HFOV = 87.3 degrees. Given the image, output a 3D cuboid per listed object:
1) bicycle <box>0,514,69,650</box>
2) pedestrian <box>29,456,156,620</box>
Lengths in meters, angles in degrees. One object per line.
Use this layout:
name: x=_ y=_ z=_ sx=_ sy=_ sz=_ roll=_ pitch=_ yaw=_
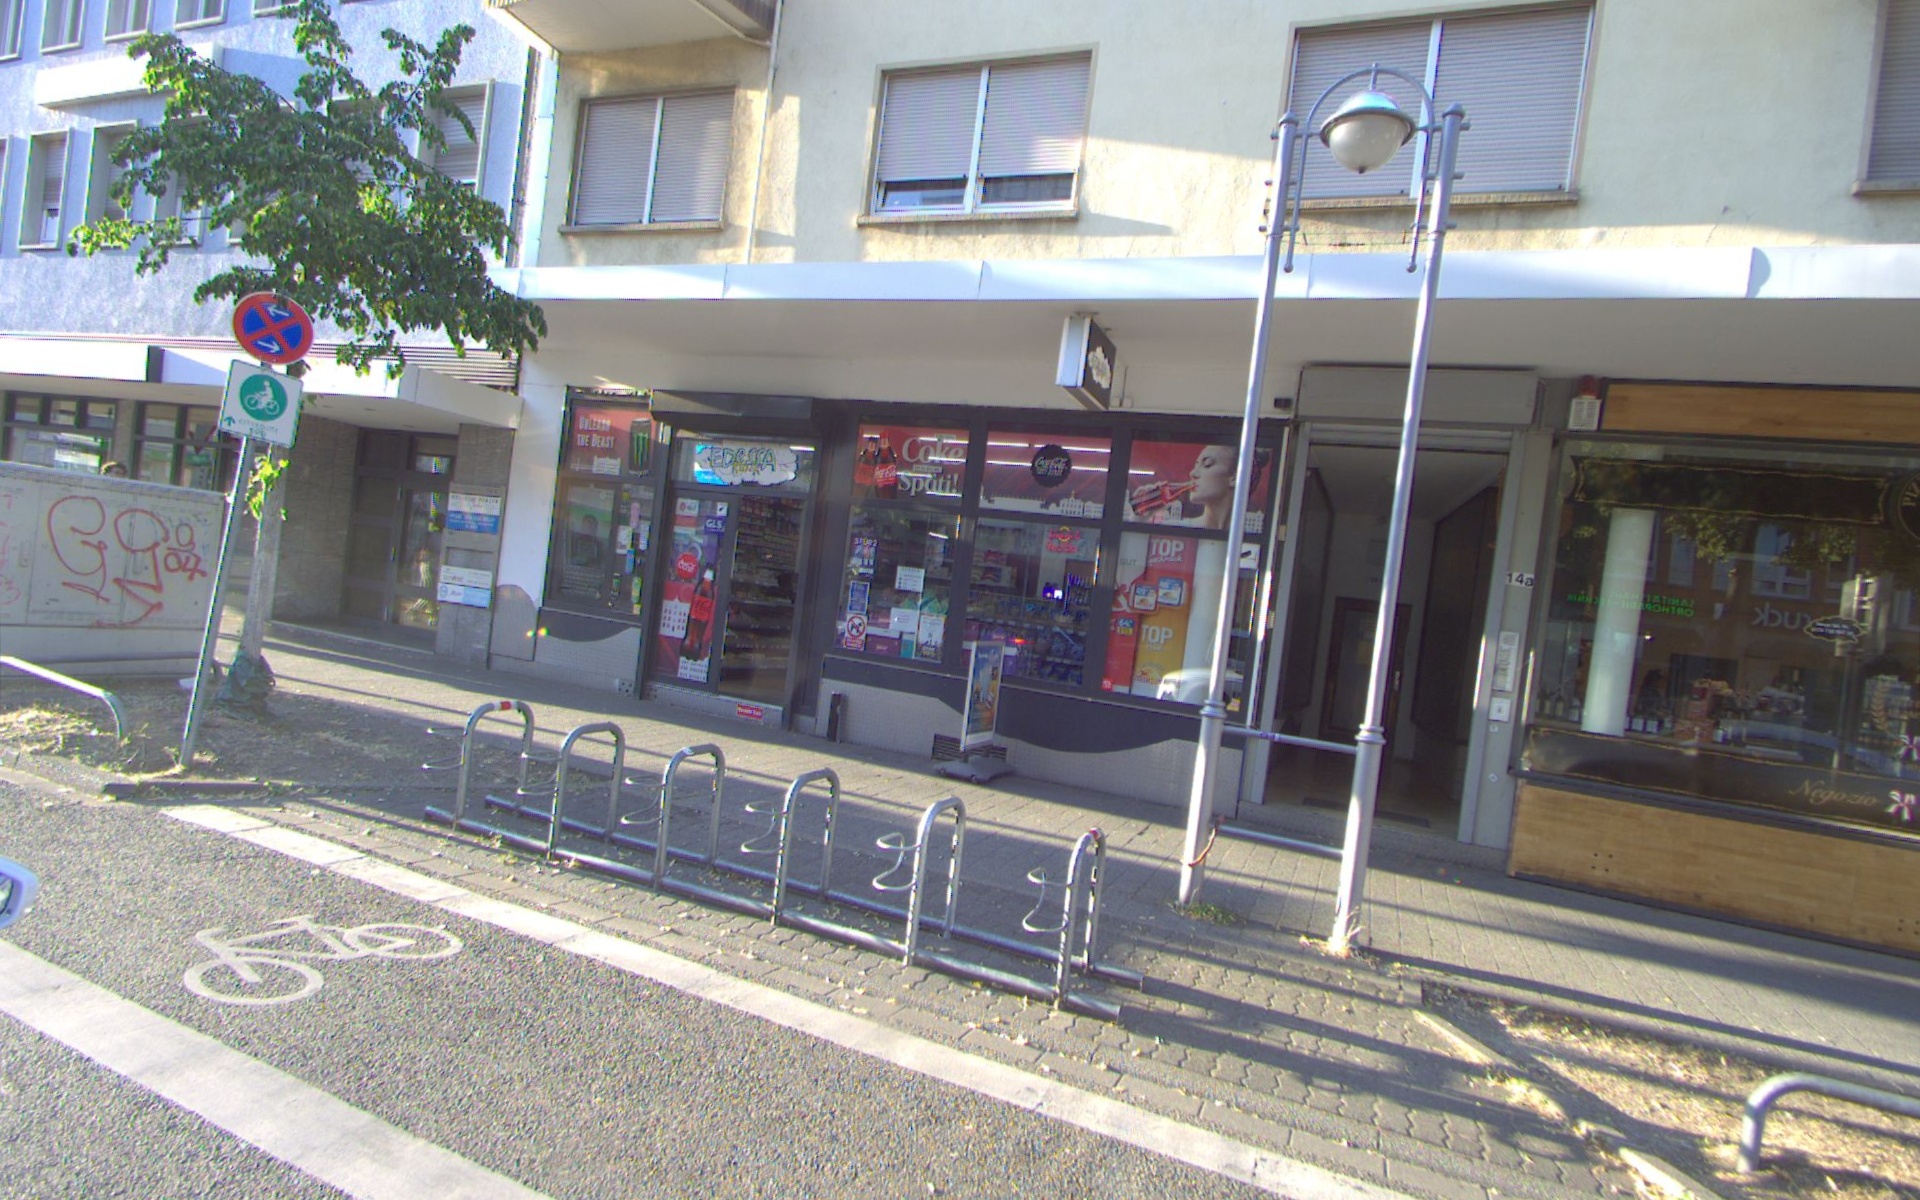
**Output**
bicycle: x=-9.149 y=-0.217 z=9.135 sx=0.376 sy=1.234 sz=1.446 roll=7 pitch=-1 yaw=25
pedestrian: x=-10.559 y=-0.736 z=12.260 sx=0.666 sy=1.865 sz=0.837 roll=7 pitch=1 yaw=24
